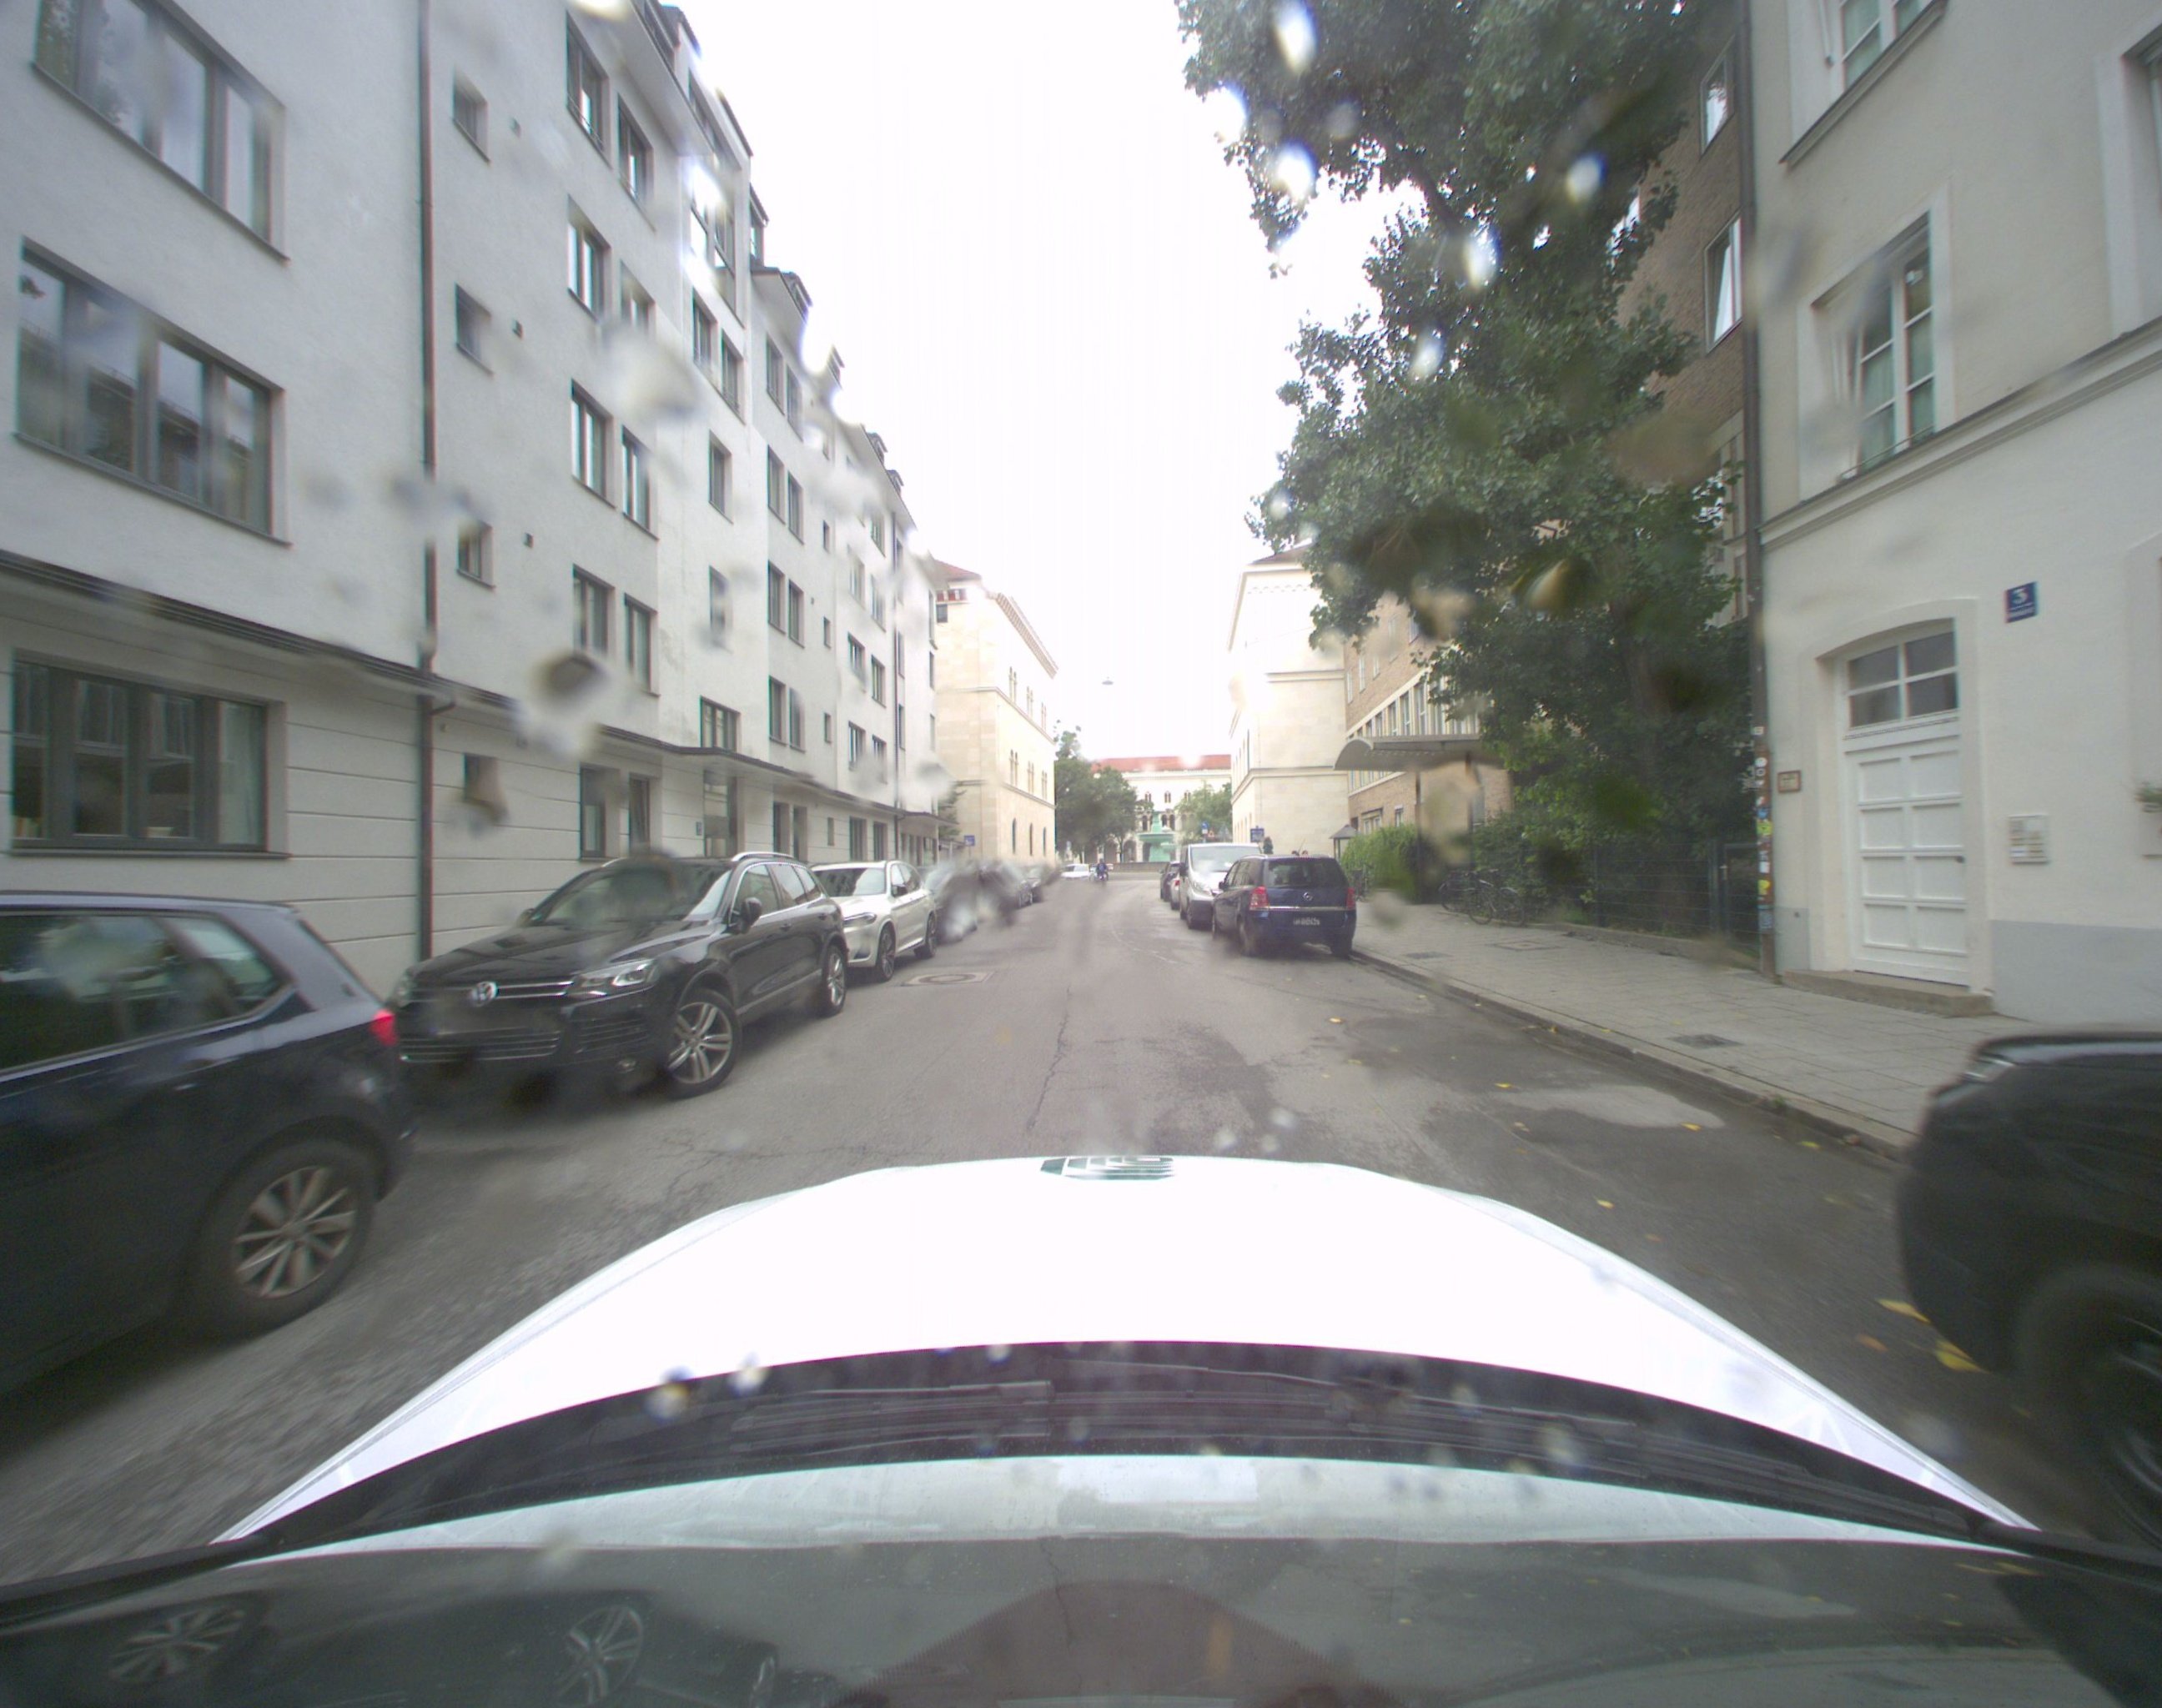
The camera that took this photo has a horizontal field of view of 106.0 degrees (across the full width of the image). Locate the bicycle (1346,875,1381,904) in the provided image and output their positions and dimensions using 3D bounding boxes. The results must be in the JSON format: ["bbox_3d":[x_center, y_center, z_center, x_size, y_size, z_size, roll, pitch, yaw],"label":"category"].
[{"bbox_3d":[8.580,1.079,24.804,0.515,0.817,1.433,-2,0,-1],"label":"bicycle"}]

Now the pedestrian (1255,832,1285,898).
[{"bbox_3d":[6.347,0.363,27.405,0.790,2.197,0.814,-1,0,1],"label":"pedestrian"}]

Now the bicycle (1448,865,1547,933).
[{"bbox_3d":[7.352,0.759,14.514,0.667,1.073,2.225,-2,0,2],"label":"bicycle"}]

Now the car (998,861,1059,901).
[{"bbox_3d":[-2.152,1.101,34.271,1.741,1.453,4.024,-3,0,7],"label":"car"}]

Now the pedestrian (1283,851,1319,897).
[{"bbox_3d":[7.545,0.683,27.940,0.951,1.547,0.670,-1,-1,-14],"label":"pedestrian"}]

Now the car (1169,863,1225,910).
[{"bbox_3d":[3.803,1.024,27.295,1.665,1.417,4.207,-1,0,5],"label":"car"}]

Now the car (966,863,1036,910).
[{"bbox_3d":[-2.827,1.115,29.531,1.742,1.453,4.021,-3,0,5],"label":"car"}]

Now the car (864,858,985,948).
[{"bbox_3d":[-3.379,0.992,18.481,1.867,1.658,4.588,-3,0,-1],"label":"car"}]

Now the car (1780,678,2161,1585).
[{"bbox_3d":[2.993,0.538,0.395,1.839,1.776,4.203,1,-1,2],"label":"car"}]

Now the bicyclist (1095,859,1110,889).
[{"bbox_3d":[1.133,1.027,42.765,0.654,1.551,0.888,-2,-1,4],"label":"bicyclist"}]

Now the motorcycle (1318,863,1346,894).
[{"bbox_3d":[8.960,0.857,29.141,0.486,1.054,1.925,-1,0,3],"label":"motorcycle"}]

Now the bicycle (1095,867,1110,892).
[{"bbox_3d":[1.128,1.318,42.623,0.646,1.197,1.952,-2,-1,4],"label":"bicycle"}]

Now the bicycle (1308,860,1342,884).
[{"bbox_3d":[11.481,0.837,38.351,1.422,1.042,0.349,-3,-1,5],"label":"bicycle"}]

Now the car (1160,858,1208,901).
[{"bbox_3d":[4.031,0.979,32.331,1.739,1.594,3.961,-1,-1,5],"label":"car"}]

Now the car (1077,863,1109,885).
[{"bbox_3d":[0.873,1.351,55.813,1.689,1.393,4.220,-3,-1,7],"label":"car"}]

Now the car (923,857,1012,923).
[{"bbox_3d":[-3.253,0.985,24.107,1.865,1.658,4.081,-3,0,1],"label":"car"}]

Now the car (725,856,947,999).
[{"bbox_3d":[-3.438,0.926,12.475,1.866,1.658,4.591,-3,0,1],"label":"car"}]

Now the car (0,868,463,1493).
[{"bbox_3d":[-3.645,0.883,1.458,1.767,1.539,4.160,-3,0,1],"label":"car"}]

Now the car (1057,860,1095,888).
[{"bbox_3d":[-0.233,1.220,49.493,1.769,1.535,4.218,-3,-1,6],"label":"car"}]

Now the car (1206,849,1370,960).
[{"bbox_3d":[3.407,0.762,14.242,1.802,1.600,4.214,-1,0,0],"label":"car"}]

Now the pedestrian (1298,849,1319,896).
[{"bbox_3d":[8.190,0.655,29.305,0.584,1.633,0.878,-1,0,7],"label":"pedestrian"}]

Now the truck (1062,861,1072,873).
[{"bbox_3d":[-2.968,2.755,174.123,1.990,2.489,3.994,-1,0,-4],"label":"truck"}]

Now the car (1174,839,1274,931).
[{"bbox_3d":[3.359,0.680,19.962,1.874,1.924,4.879,-1,0,4],"label":"car"}]

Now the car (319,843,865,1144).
[{"bbox_3d":[-3.495,0.816,7.079,1.866,1.688,4.521,-3,0,1],"label":"car"}]
